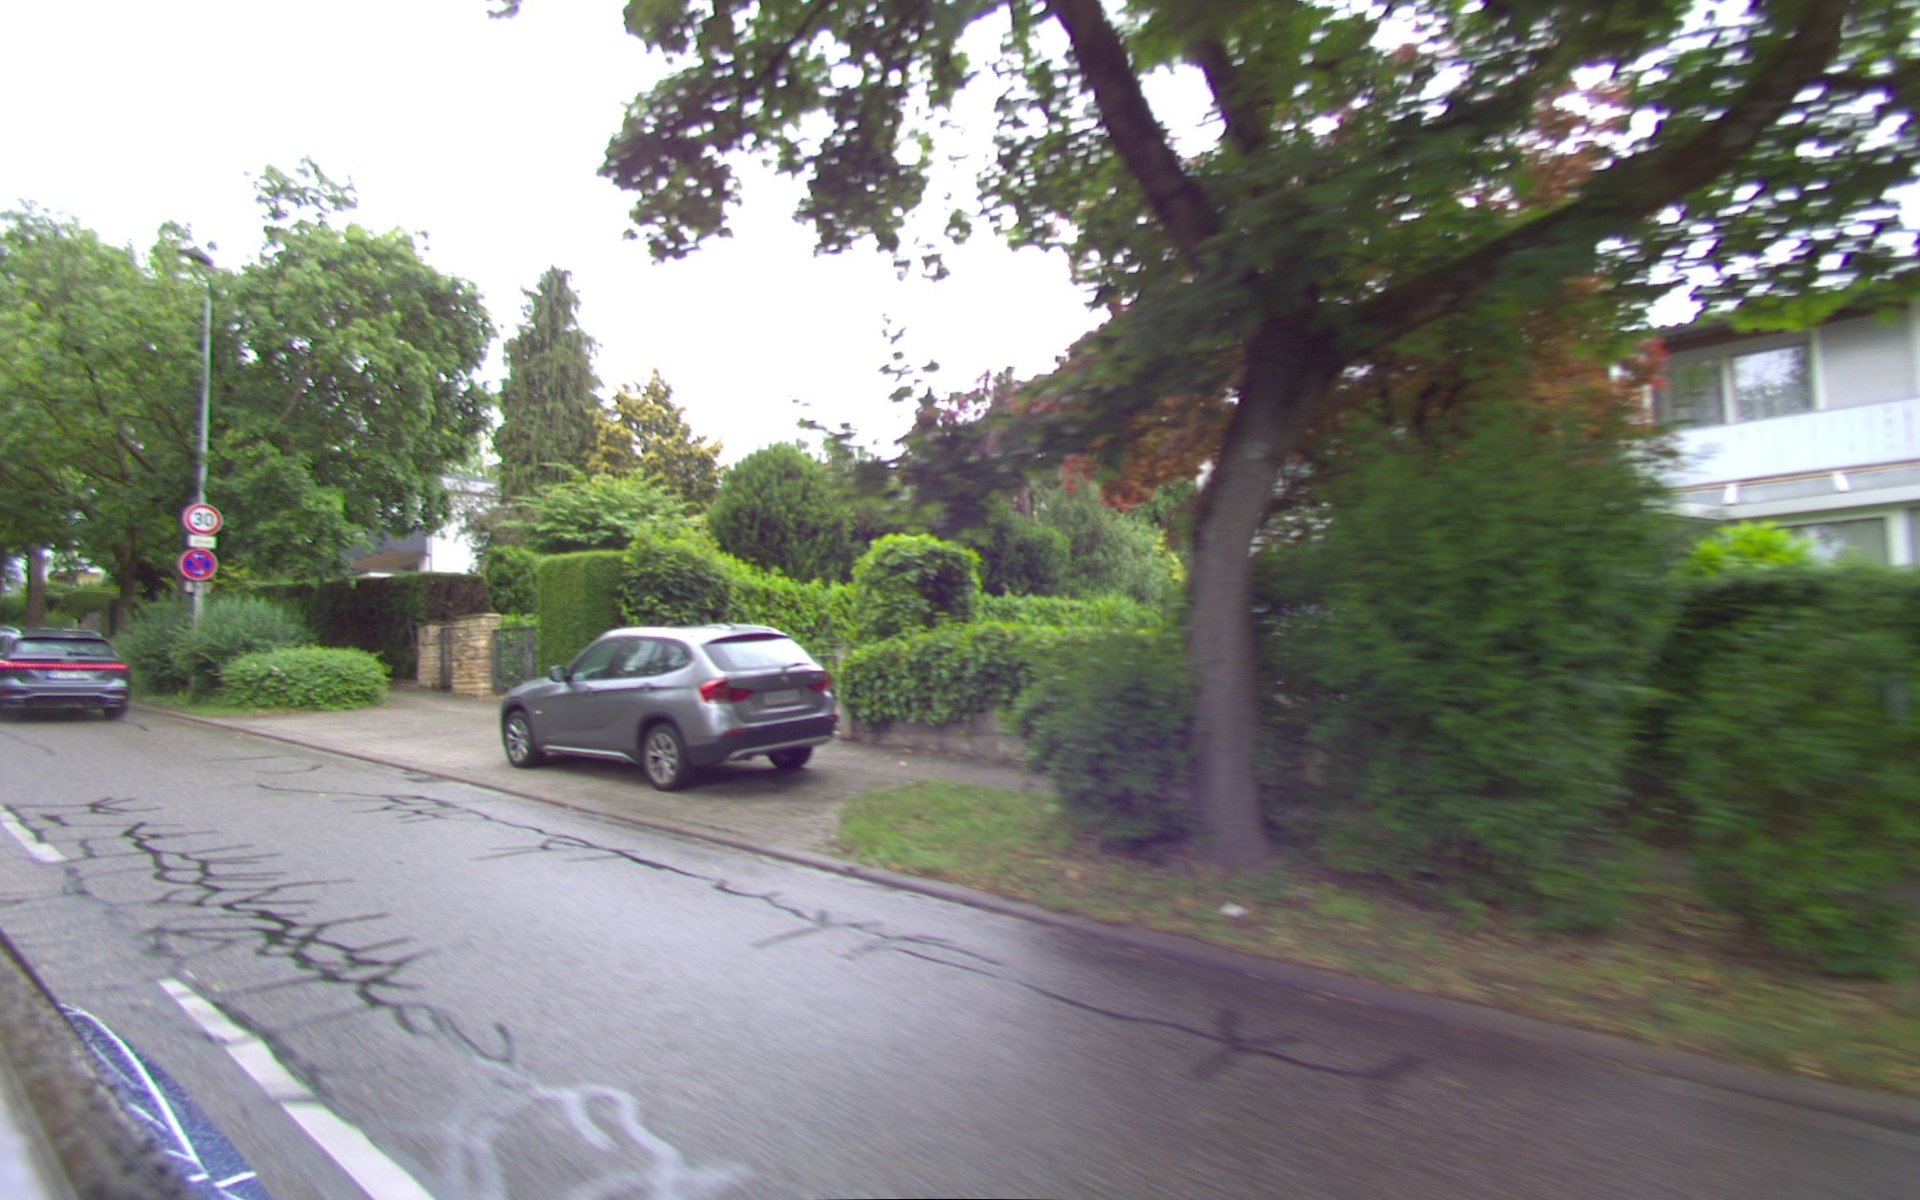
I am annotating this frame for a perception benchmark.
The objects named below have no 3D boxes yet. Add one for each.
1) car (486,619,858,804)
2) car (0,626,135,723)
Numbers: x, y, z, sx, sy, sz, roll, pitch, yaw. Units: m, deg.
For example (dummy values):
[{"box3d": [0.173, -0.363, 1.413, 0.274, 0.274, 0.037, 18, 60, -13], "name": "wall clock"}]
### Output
[{"box3d": [-3.206, 1.028, 10.819, 4.279, 1.554, 1.647, -2, 0, 39], "name": "car"}, {"box3d": [-15.294, 1.163, 16.726, 4.488, 1.407, 1.672, 0, -5, 40], "name": "car"}]
